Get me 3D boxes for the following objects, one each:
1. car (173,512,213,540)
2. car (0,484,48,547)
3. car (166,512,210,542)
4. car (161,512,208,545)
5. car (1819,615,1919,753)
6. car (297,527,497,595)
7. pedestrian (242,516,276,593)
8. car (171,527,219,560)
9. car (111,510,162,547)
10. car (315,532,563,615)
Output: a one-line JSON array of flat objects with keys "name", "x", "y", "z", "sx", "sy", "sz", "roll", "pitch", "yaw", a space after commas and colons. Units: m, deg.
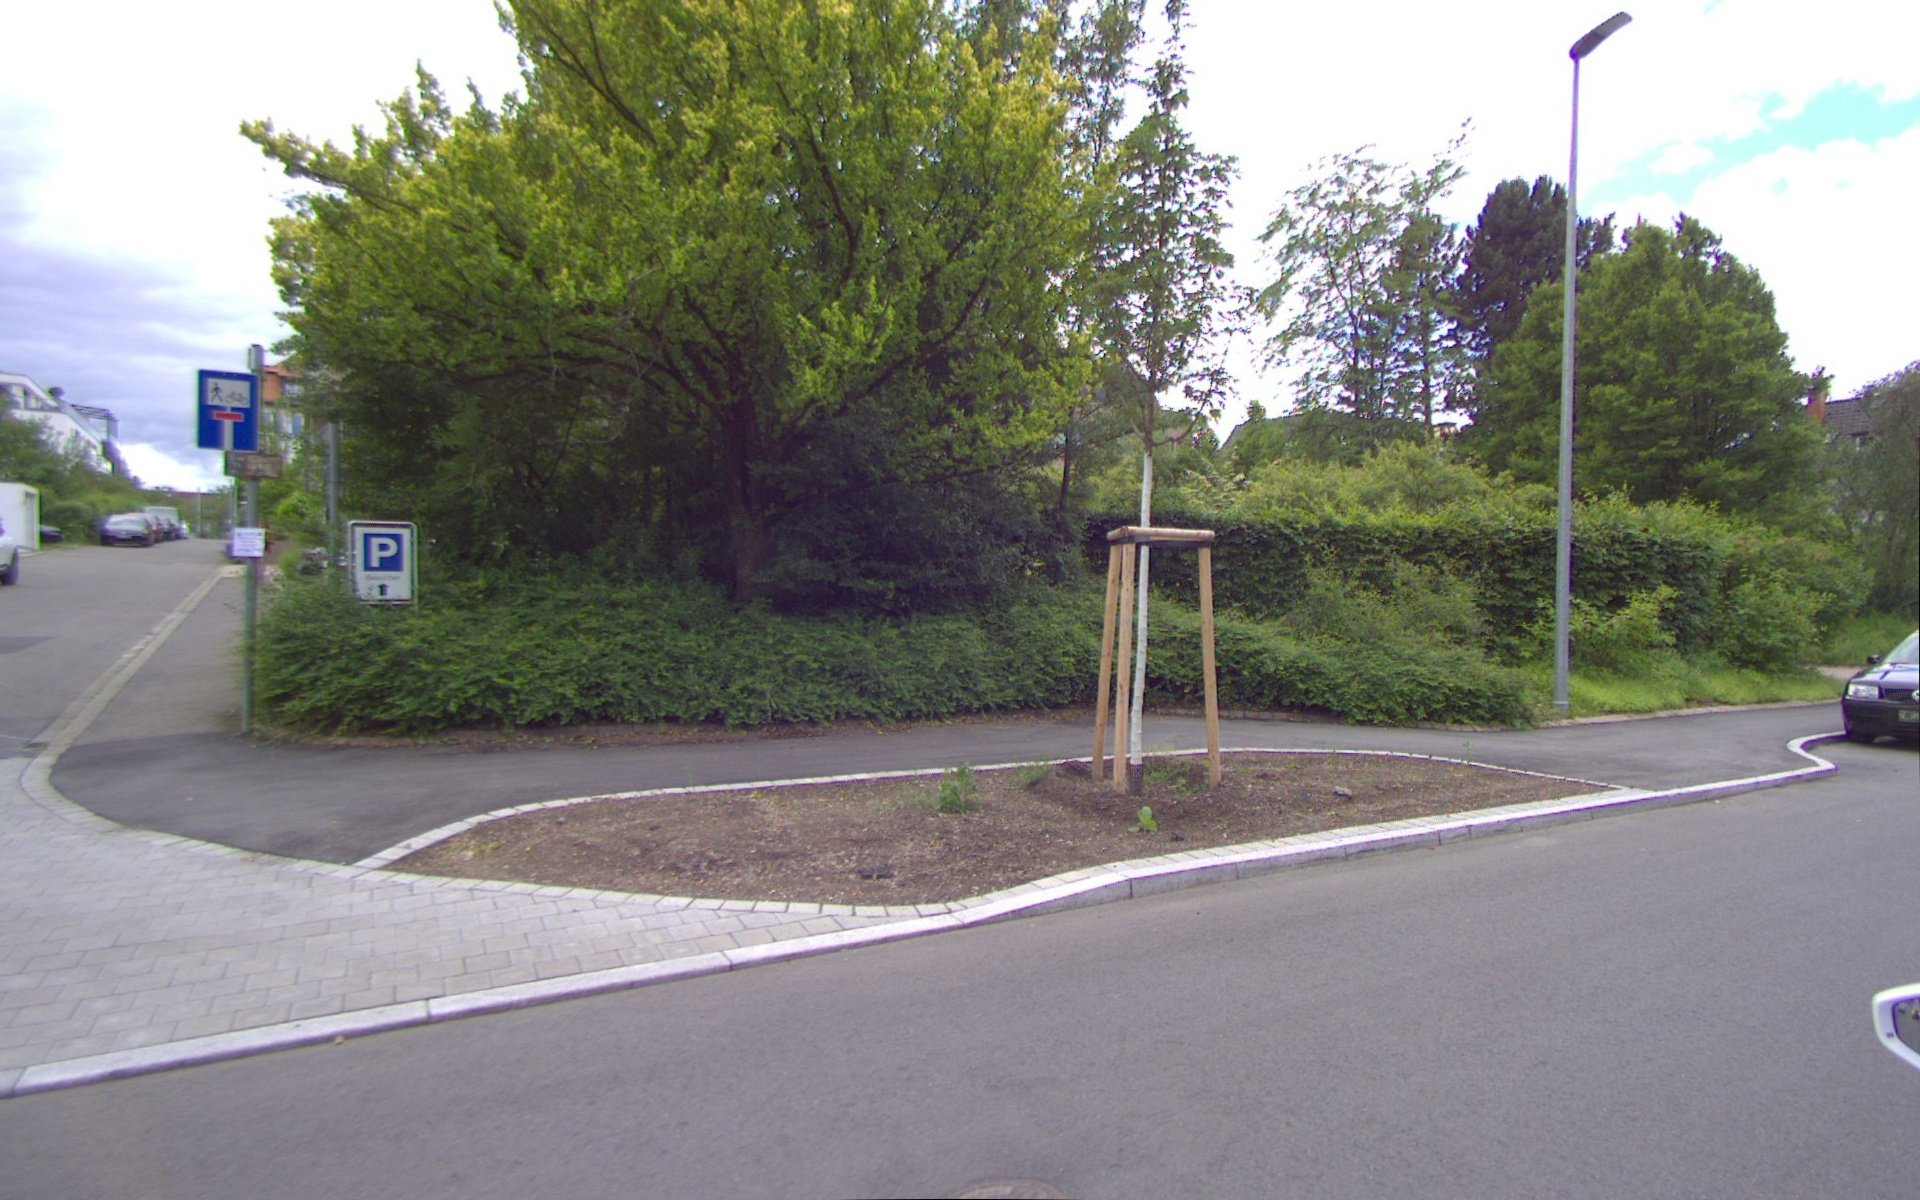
[{"name": "car", "x": -50.087, "y": -4.847, "z": 65.647, "sx": 1.882, "sy": 1.632, "sz": 4.322, "roll": 2, "pitch": 3, "yaw": -35}, {"name": "car", "x": -36.223, "y": -3.172, "z": 36.694, "sx": 3.959, "sy": 2.143, "sz": 1.955, "roll": 2, "pitch": -1, "yaw": -34}, {"name": "car", "x": -46.717, "y": -4.438, "z": 60.881, "sx": 1.882, "sy": 1.632, "sz": 4.322, "roll": 2, "pitch": 3, "yaw": -35}, {"name": "car", "x": -43.824, "y": -4.054, "z": 56.843, "sx": 1.882, "sy": 1.632, "sz": 4.322, "roll": 2, "pitch": 3, "yaw": -35}, {"name": "car", "x": 12.477, "y": 0.962, "z": 12.217, "sx": 4.638, "sy": 1.502, "sz": 1.674, "roll": 1, "pitch": 0, "yaw": -30}, {"name": "car", "x": -13.869, "y": -0.985, "z": 24.852, "sx": 4.162, "sy": 1.554, "sz": 1.917, "roll": -2, "pitch": 4, "yaw": -33}, {"name": "pedestrian", "x": -16.733, "y": -1.092, "z": 23.987, "sx": 0.555, "sy": 1.795, "sz": 0.567, "roll": 2, "pitch": 3, "yaw": -30}, {"name": "car", "x": -39.945, "y": -2.971, "z": 52.402, "sx": 1.752, "sy": 1.592, "sz": 3.952, "roll": 0, "pitch": 3, "yaw": -41}, {"name": "car", "x": -38.741, "y": -3.345, "z": 47.314, "sx": 1.589, "sy": 1.573, "sz": 3.551, "roll": 2, "pitch": 1, "yaw": -35}, {"name": "car", "x": -10.712, "y": -0.584, "z": 20.754, "sx": 4.366, "sy": 1.553, "sz": 1.981, "roll": -1, "pitch": 4, "yaw": -33}]
